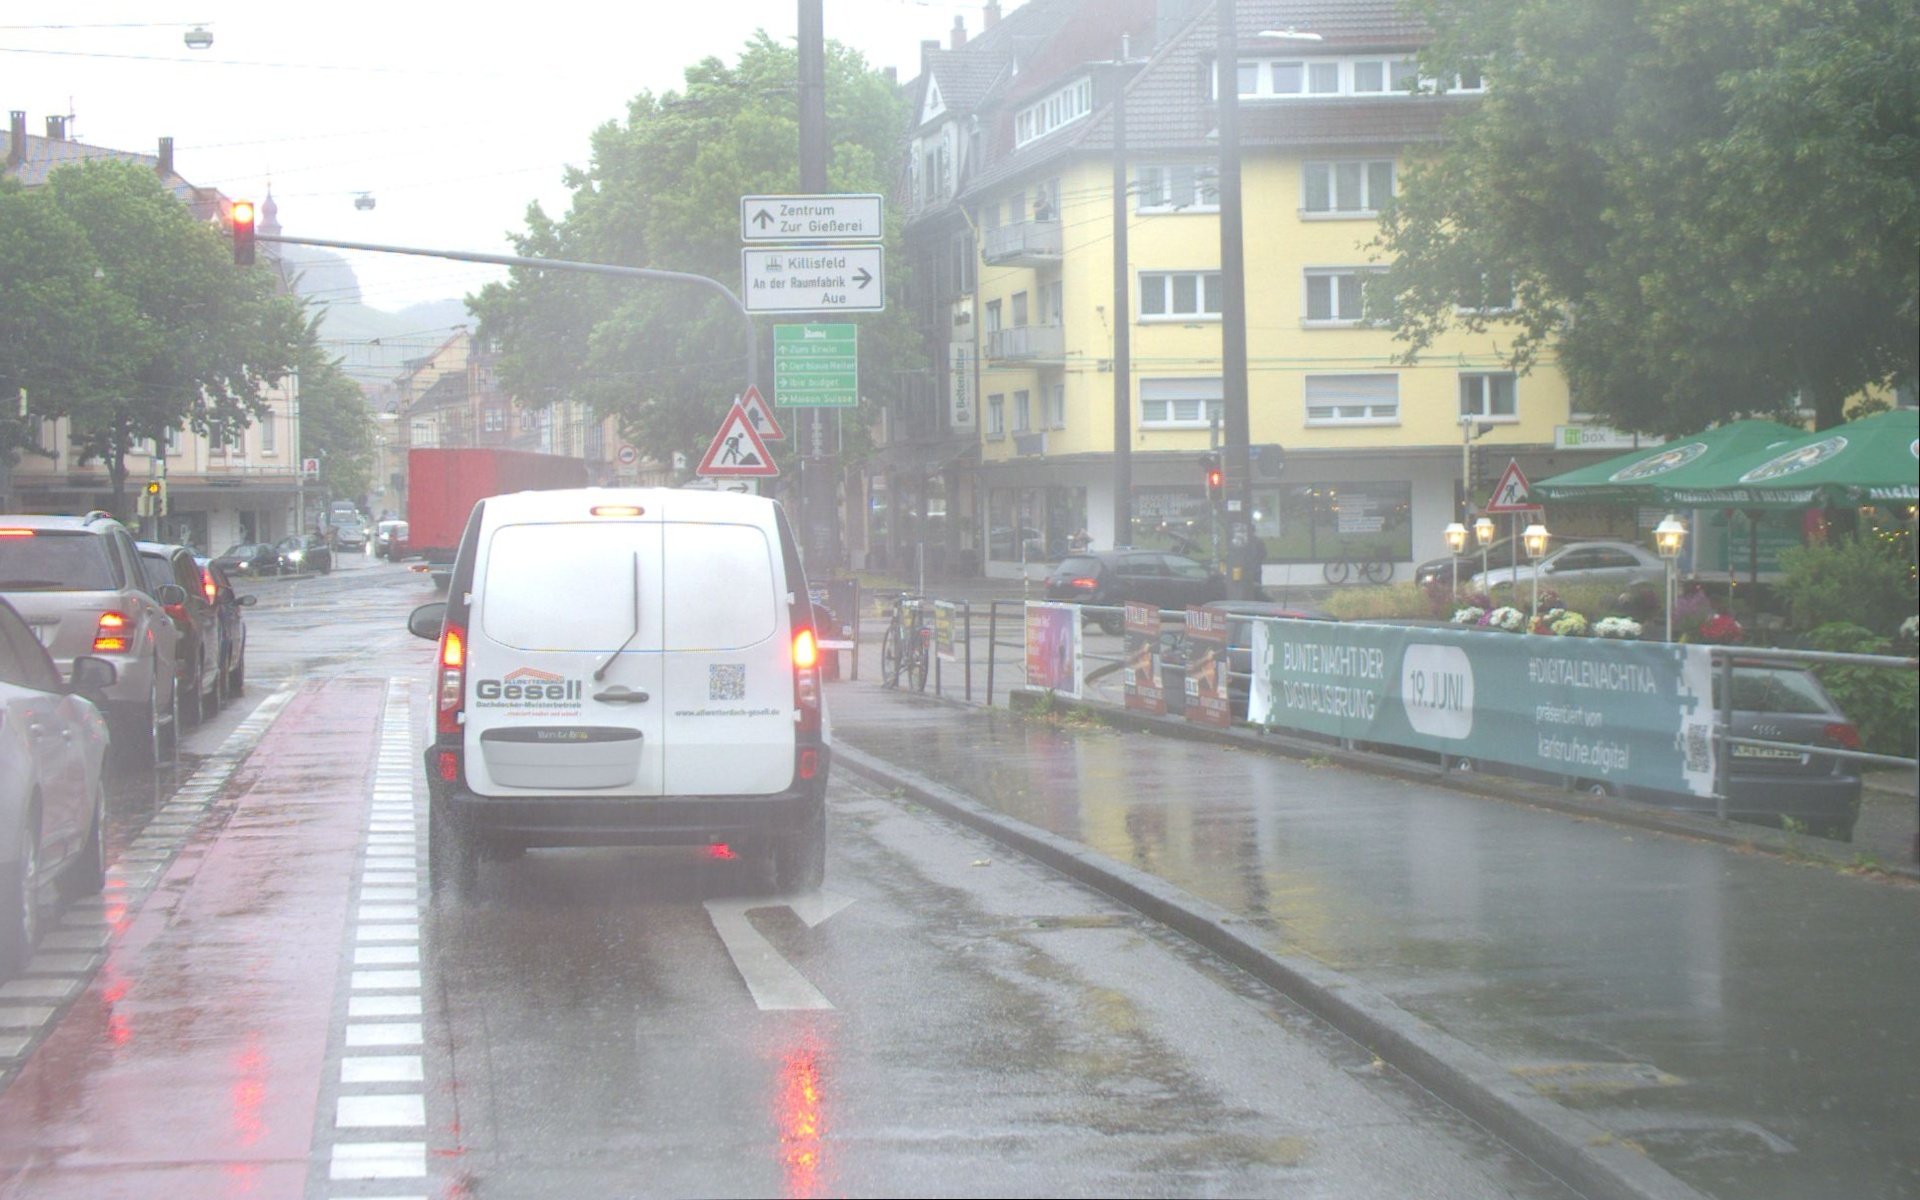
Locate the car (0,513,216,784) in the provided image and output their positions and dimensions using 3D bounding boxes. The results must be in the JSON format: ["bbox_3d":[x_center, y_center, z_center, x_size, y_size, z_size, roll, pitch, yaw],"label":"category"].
[{"bbox_3d":[-6.470,0.291,24.623,2.024,1.764,4.464,1,1,-10],"label":"car"}]

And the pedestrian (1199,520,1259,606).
[{"bbox_3d":[5.258,-0.718,67.251,0.905,1.663,1.019,1,1,21],"label":"pedestrian"}]

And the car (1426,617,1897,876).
[{"bbox_3d":[4.680,0.935,23.551,1.731,1.534,4.076,1,1,-10],"label":"car"}]

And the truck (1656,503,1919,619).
[{"bbox_3d":[15.713,-0.688,62.147,5.745,2.007,2.112,1,1,-4],"label":"truck"}]

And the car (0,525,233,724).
[{"bbox_3d":[-7.649,0.184,31.148,1.834,1.662,4.174,1,1,-9],"label":"car"}]

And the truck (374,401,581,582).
[{"bbox_3d":[-14.430,-3.131,104.387,3.470,5.070,15.306,1,1,2],"label":"truck"}]

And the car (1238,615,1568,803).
[{"bbox_3d":[3.635,0.865,28.899,1.702,1.395,3.974,1,1,-9],"label":"car"}]

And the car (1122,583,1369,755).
[{"bbox_3d":[2.792,0.644,34.322,1.705,1.437,3.526,3,1,-7],"label":"car"}]

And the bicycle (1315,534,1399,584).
[{"bbox_3d":[10.184,-1.052,88.240,2.102,1.257,0.532,0,2,6],"label":"bicycle"}]

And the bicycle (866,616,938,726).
[{"bbox_3d":[-0.653,0.766,37.944,0.514,1.103,2.017,3,1,-7],"label":"bicycle"}]

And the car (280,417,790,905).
[{"bbox_3d":[-2.134,0.231,16.744,2.100,2.005,4.964,0,0,-9],"label":"car"}]

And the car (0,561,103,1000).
[{"bbox_3d":[-4.418,0.581,13.448,1.767,1.472,4.002,1,1,-10],"label":"car"}]

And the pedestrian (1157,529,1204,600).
[{"bbox_3d":[4.807,-0.773,75.038,0.622,1.528,0.814,1,1,43],"label":"pedestrian"}]

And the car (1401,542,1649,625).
[{"bbox_3d":[11.763,-0.337,71.795,4.938,1.637,1.999,0,-2,4],"label":"car"}]

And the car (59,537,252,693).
[{"bbox_3d":[-8.613,0.132,37.047,1.726,1.573,3.821,1,1,-9],"label":"car"}]
